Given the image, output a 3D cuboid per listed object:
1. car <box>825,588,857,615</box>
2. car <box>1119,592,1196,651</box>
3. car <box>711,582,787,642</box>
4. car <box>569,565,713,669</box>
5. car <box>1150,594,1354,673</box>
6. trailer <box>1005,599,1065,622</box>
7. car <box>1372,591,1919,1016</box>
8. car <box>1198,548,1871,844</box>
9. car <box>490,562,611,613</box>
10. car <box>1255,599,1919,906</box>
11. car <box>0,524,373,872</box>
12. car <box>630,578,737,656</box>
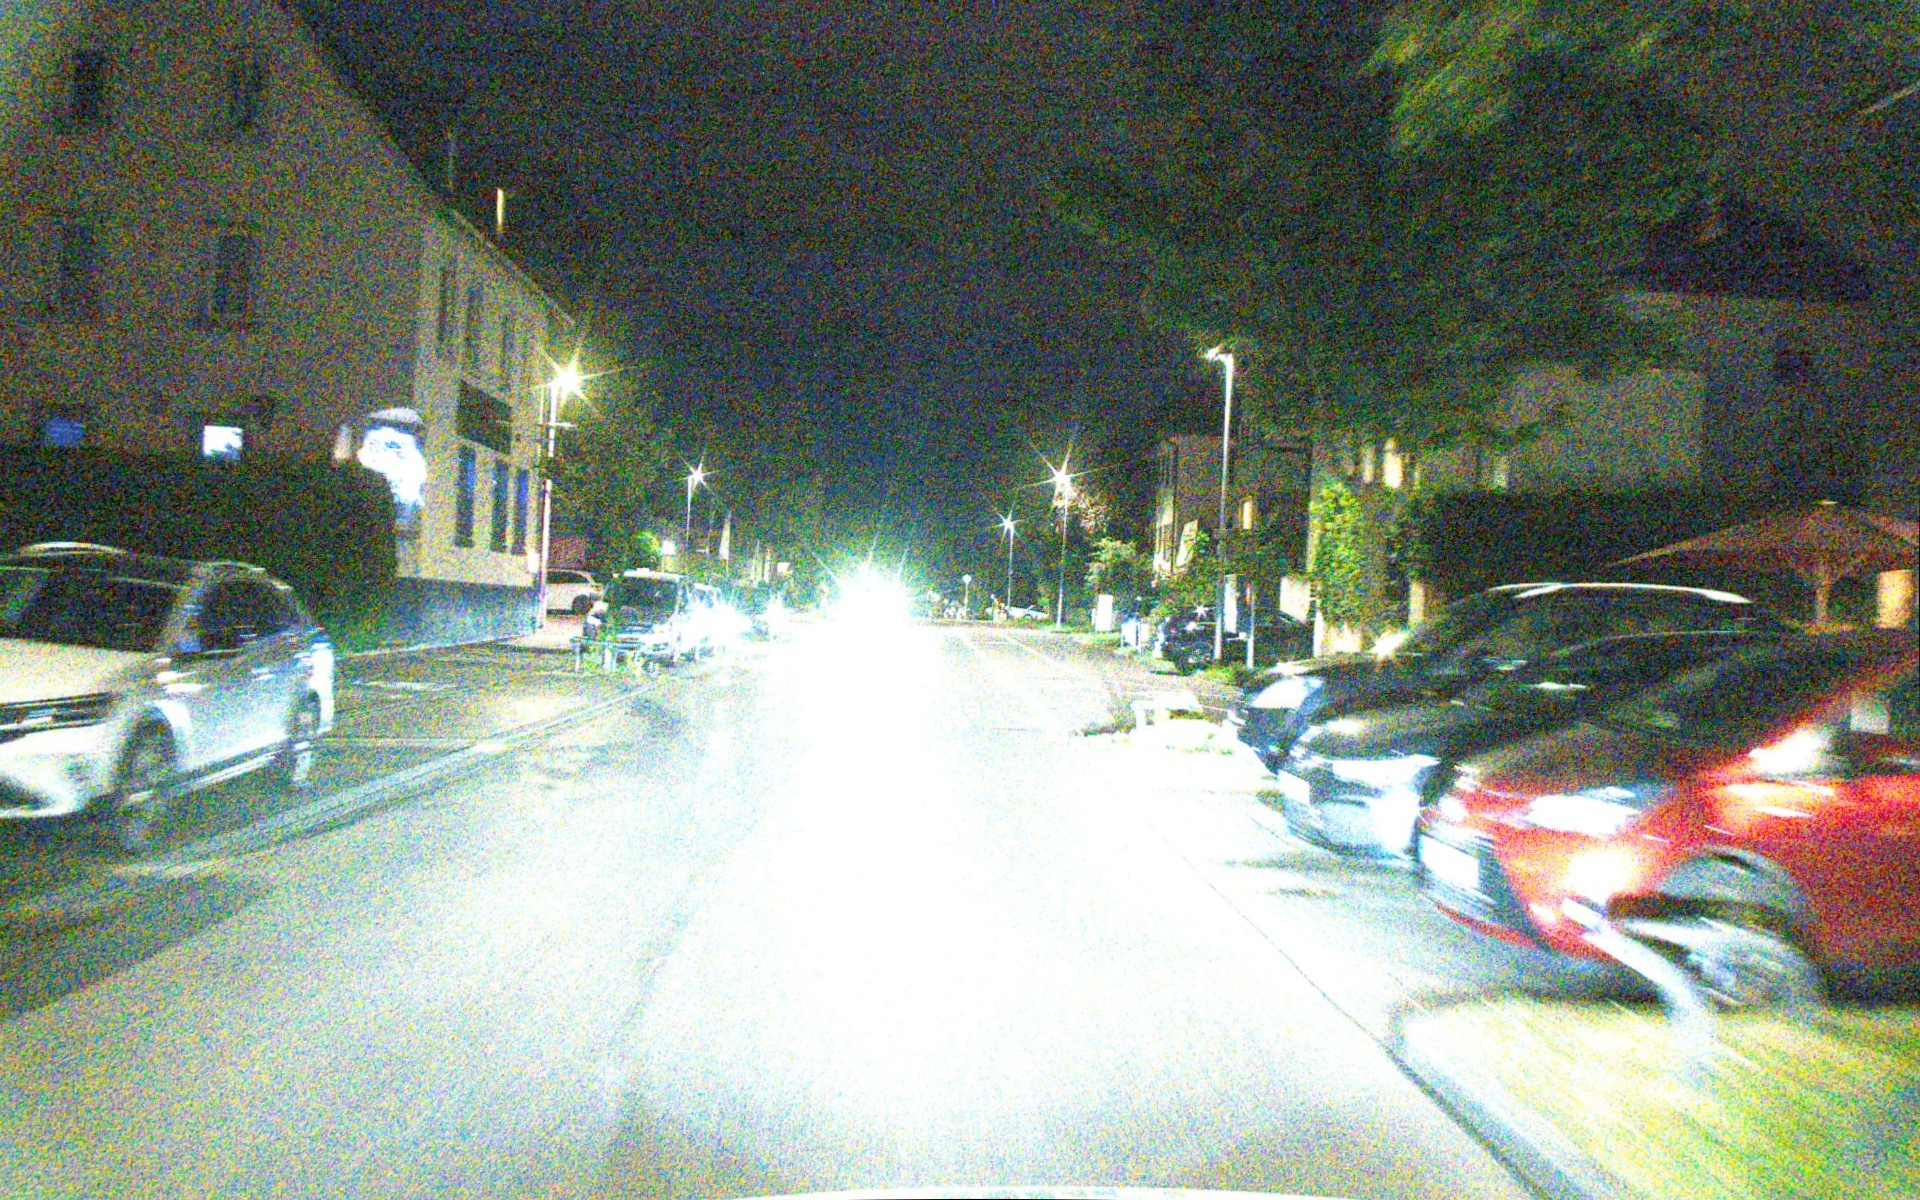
[{"bbox_3d":[-7.633,0.113,106.349,1.638,1.618,3.987,4,0,0],"label":"car"},{"bbox_3d":[5.689,0.597,47.901,1.606,1.587,3.677,2,0,-2],"label":"car"},{"bbox_3d":[-5.864,0.315,46.374,1.714,1.494,4.007,3,0,-3],"label":"car"},{"bbox_3d":[-5.825,0.278,30.690,1.890,1.665,4.468,4,0,-3],"label":"car"},{"bbox_3d":[5.956,0.678,34.007,3.825,1.512,1.832,1,0,-2],"label":"car"},{"bbox_3d":[4.486,0.635,98.916,3.364,1.019,1.953,6,0,-2],"label":"trailer"},{"bbox_3d":[3.955,0.808,7.146,3.837,1.540,1.854,2,-1,-3],"label":"car"},{"bbox_3d":[4.004,0.633,12.198,4.263,1.848,2.032,2,0,4],"label":"car"},{"bbox_3d":[-14.226,-0.440,57.598,3.913,1.732,1.944,0,0,-9],"label":"car"},{"bbox_3d":[3.873,0.832,9.709,3.839,1.540,1.853,2,0,-5],"label":"car"},{"bbox_3d":[-5.242,0.377,9.770,2.074,1.575,4.474,4,0,-3],"label":"car"},{"bbox_3d":[-5.965,0.336,36.056,1.735,1.494,3.964,4,0,-3],"label":"car"}]
